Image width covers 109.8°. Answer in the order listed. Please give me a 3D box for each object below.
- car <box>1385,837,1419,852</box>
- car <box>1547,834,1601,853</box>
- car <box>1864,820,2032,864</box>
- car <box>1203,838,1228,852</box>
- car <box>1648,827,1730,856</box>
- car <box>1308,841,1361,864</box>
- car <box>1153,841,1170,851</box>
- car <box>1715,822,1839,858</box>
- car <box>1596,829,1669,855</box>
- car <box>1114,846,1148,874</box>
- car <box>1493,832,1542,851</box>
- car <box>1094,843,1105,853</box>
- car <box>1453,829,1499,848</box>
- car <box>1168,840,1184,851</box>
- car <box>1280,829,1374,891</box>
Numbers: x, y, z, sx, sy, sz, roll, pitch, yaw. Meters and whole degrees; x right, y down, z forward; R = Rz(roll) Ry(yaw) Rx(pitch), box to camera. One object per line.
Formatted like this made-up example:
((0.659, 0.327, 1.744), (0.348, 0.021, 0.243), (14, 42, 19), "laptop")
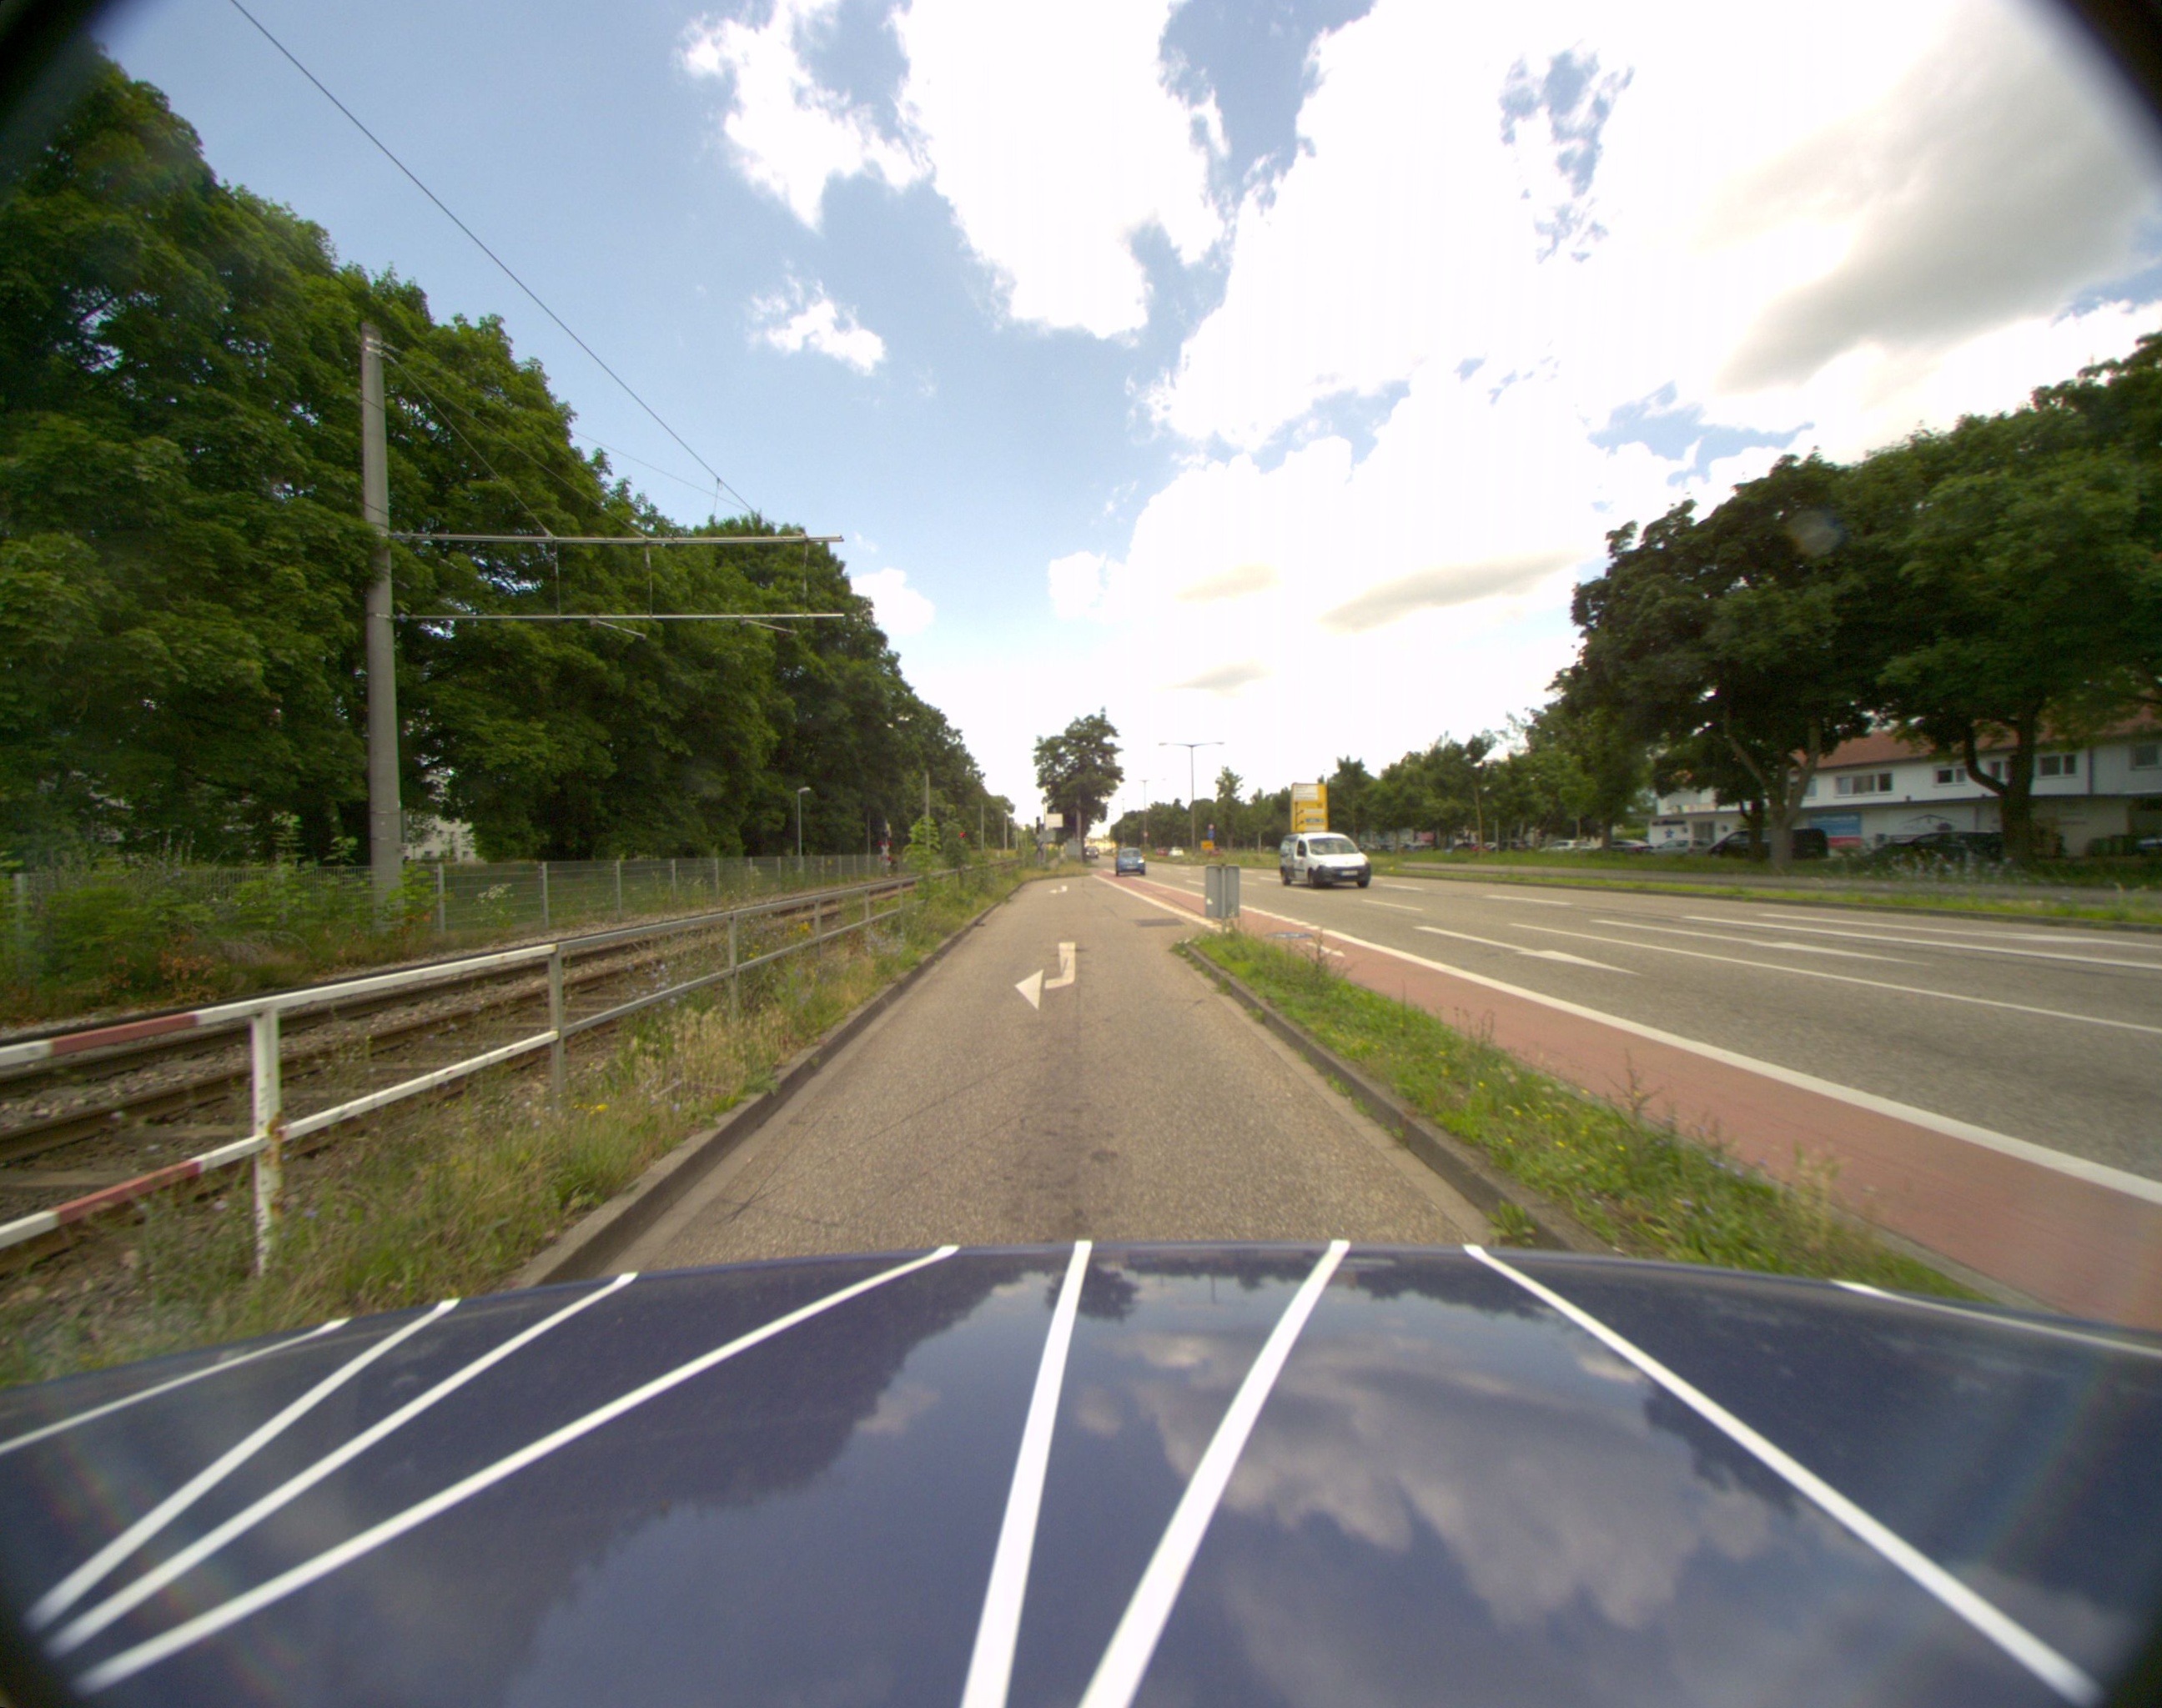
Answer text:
((35.623, -1.036, 84.434), (1.998, 1.578, 4.022), (-1, 1, 0), "car")
((35.284, -0.746, 54.518), (1.625, 1.324, 3.476), (-1, 1, 0), "car")
((36.408, -0.504, 32.095), (1.813, 1.648, 4.359), (-2, 1, -11), "car")
((15.166, -1.059, 85.706), (1.892, 1.503, 3.998), (-2, 1, -3), "car")
((35.737, -0.725, 44.813), (1.921, 1.578, 3.665), (-1, 1, 0), "car")
((16.873, -0.129, 50.792), (1.805, 1.423, 4.494), (-1, 1, -3), "car")
((12.794, -1.272, 121.652), (1.999, 1.608, 3.998), (-1, 1, -4), "car")
((35.572, -0.698, 39.056), (1.887, 1.701, 4.928), (-1, 1, 0), "car")
((35.518, -0.756, 49.073), (1.762, 1.578, 4.022), (-1, 1, 0), "car")
((2.667, 0.286, 41.327), (1.604, 1.455, 3.702), (0, 1, 0), "car")
((35.107, -0.987, 61.213), (1.729, 1.403, 3.865), (-1, 1, 0), "car")
((3.030, -1.027, 127.103), (1.726, 1.604, 3.999), (-1, 1, 0), "car")
((35.051, -1.347, 67.578), (1.998, 1.578, 4.022), (-1, 1, 0), "car")
((13.218, -1.169, 105.974), (1.616, 1.437, 3.592), (-2, 1, -3), "car")
((7.869, 0.146, 24.723), (1.747, 1.775, 4.156), (-2, 1, 1), "car")
